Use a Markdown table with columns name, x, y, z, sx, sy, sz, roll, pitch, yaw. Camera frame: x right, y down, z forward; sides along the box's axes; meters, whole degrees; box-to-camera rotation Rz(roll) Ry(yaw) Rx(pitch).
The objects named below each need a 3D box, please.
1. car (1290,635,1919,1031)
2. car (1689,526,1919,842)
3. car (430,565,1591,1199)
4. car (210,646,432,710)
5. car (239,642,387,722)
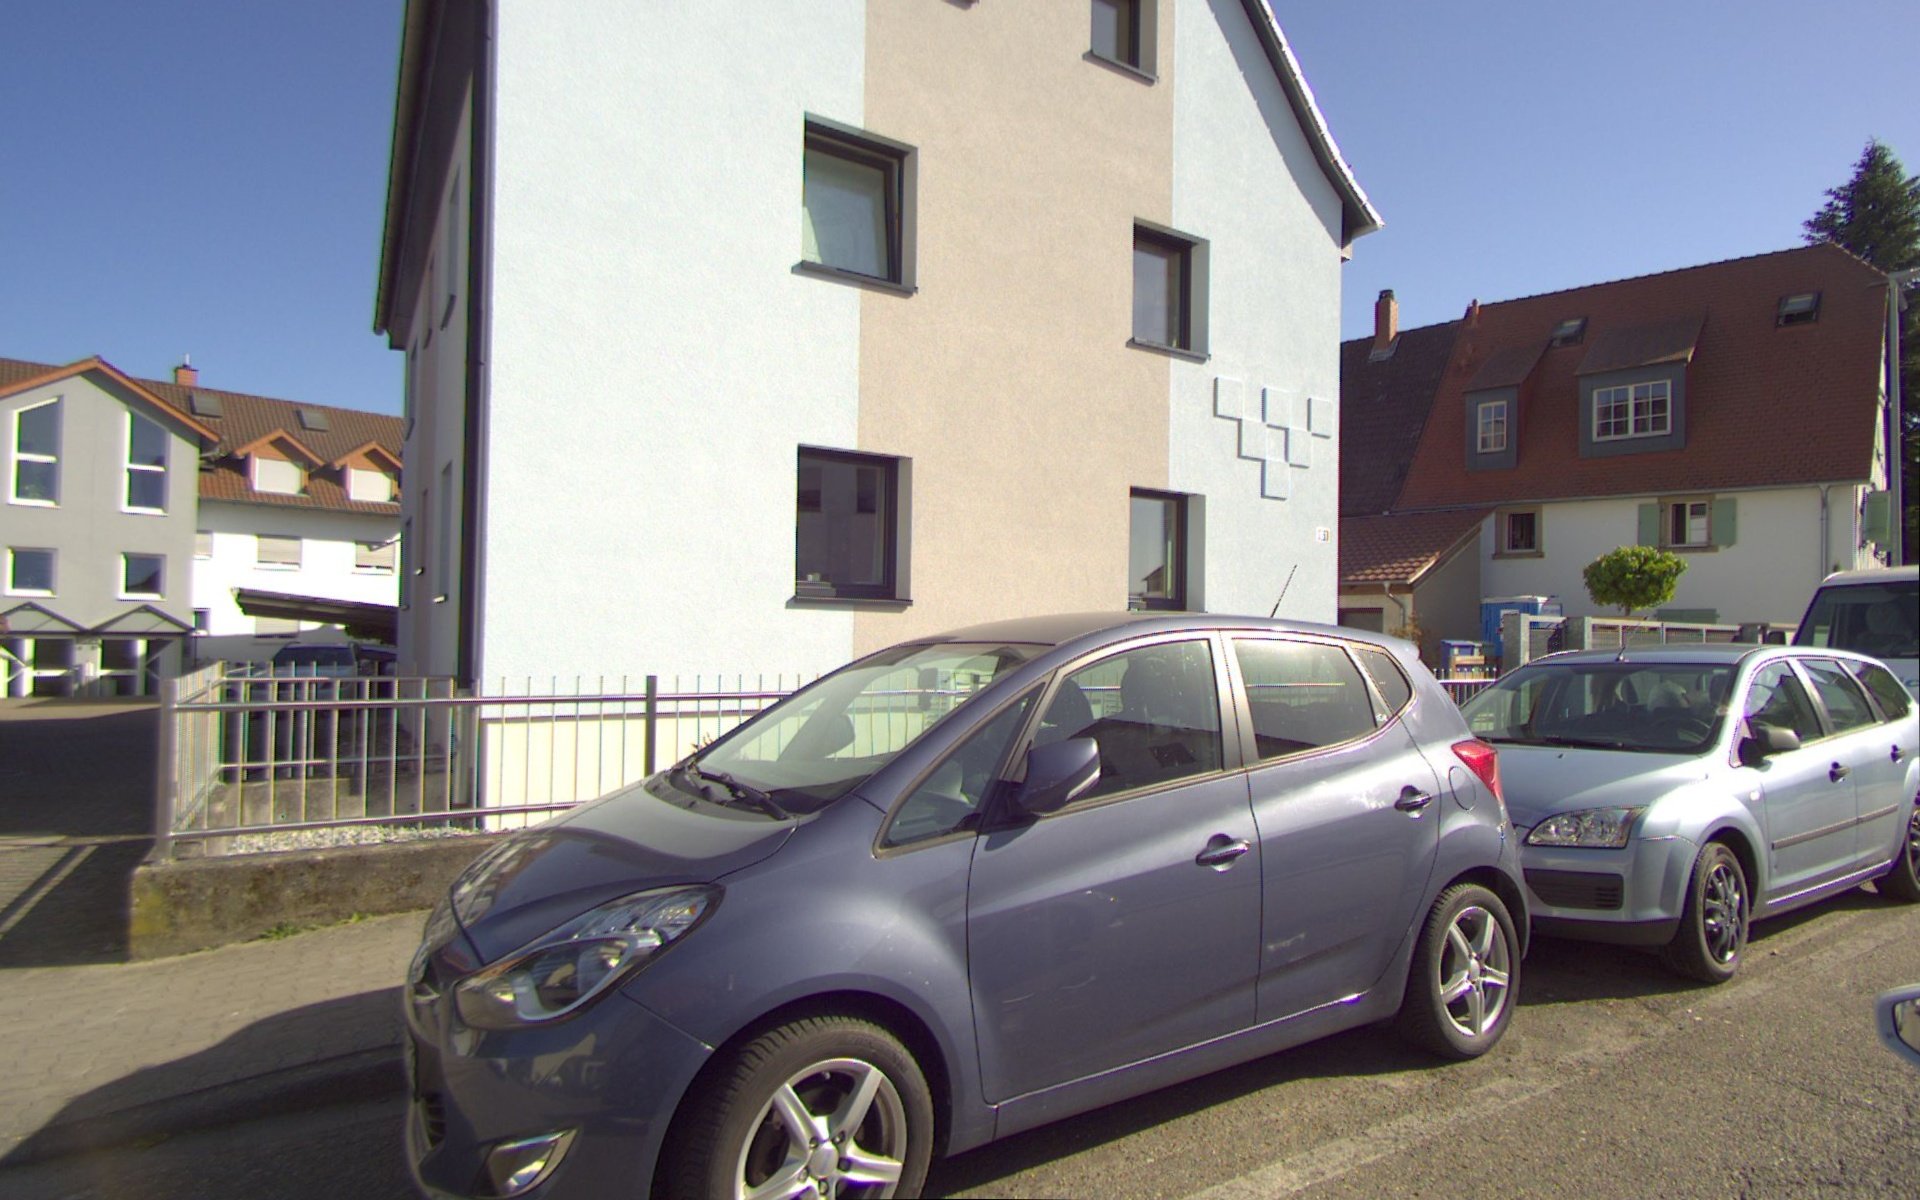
| name | x | y | z | sx | sy | sz | roll | pitch | yaw |
| --- | --- | --- | --- | --- | --- | --- | --- | --- | --- |
| car | 3.985 | 0.978 | 5.743 | 4.188 | 1.524 | 1.703 | 1 | -3 | -32 |
| car | 9.707 | 0.733 | 9.683 | 5.997 | 2.421 | 2.186 | 1 | -4 | -32 |
| car | 0.352 | 0.819 | 3.603 | 3.881 | 1.619 | 1.706 | 2 | -2 | -32 |
| car | -15.436 | 1.833 | 24.467 | 4.401 | 1.428 | 1.783 | 2 | -3 | -34 |
| car | -12.629 | 1.553 | 19.854 | 1.771 | 1.416 | 3.979 | 1 | -3 | -23 |
